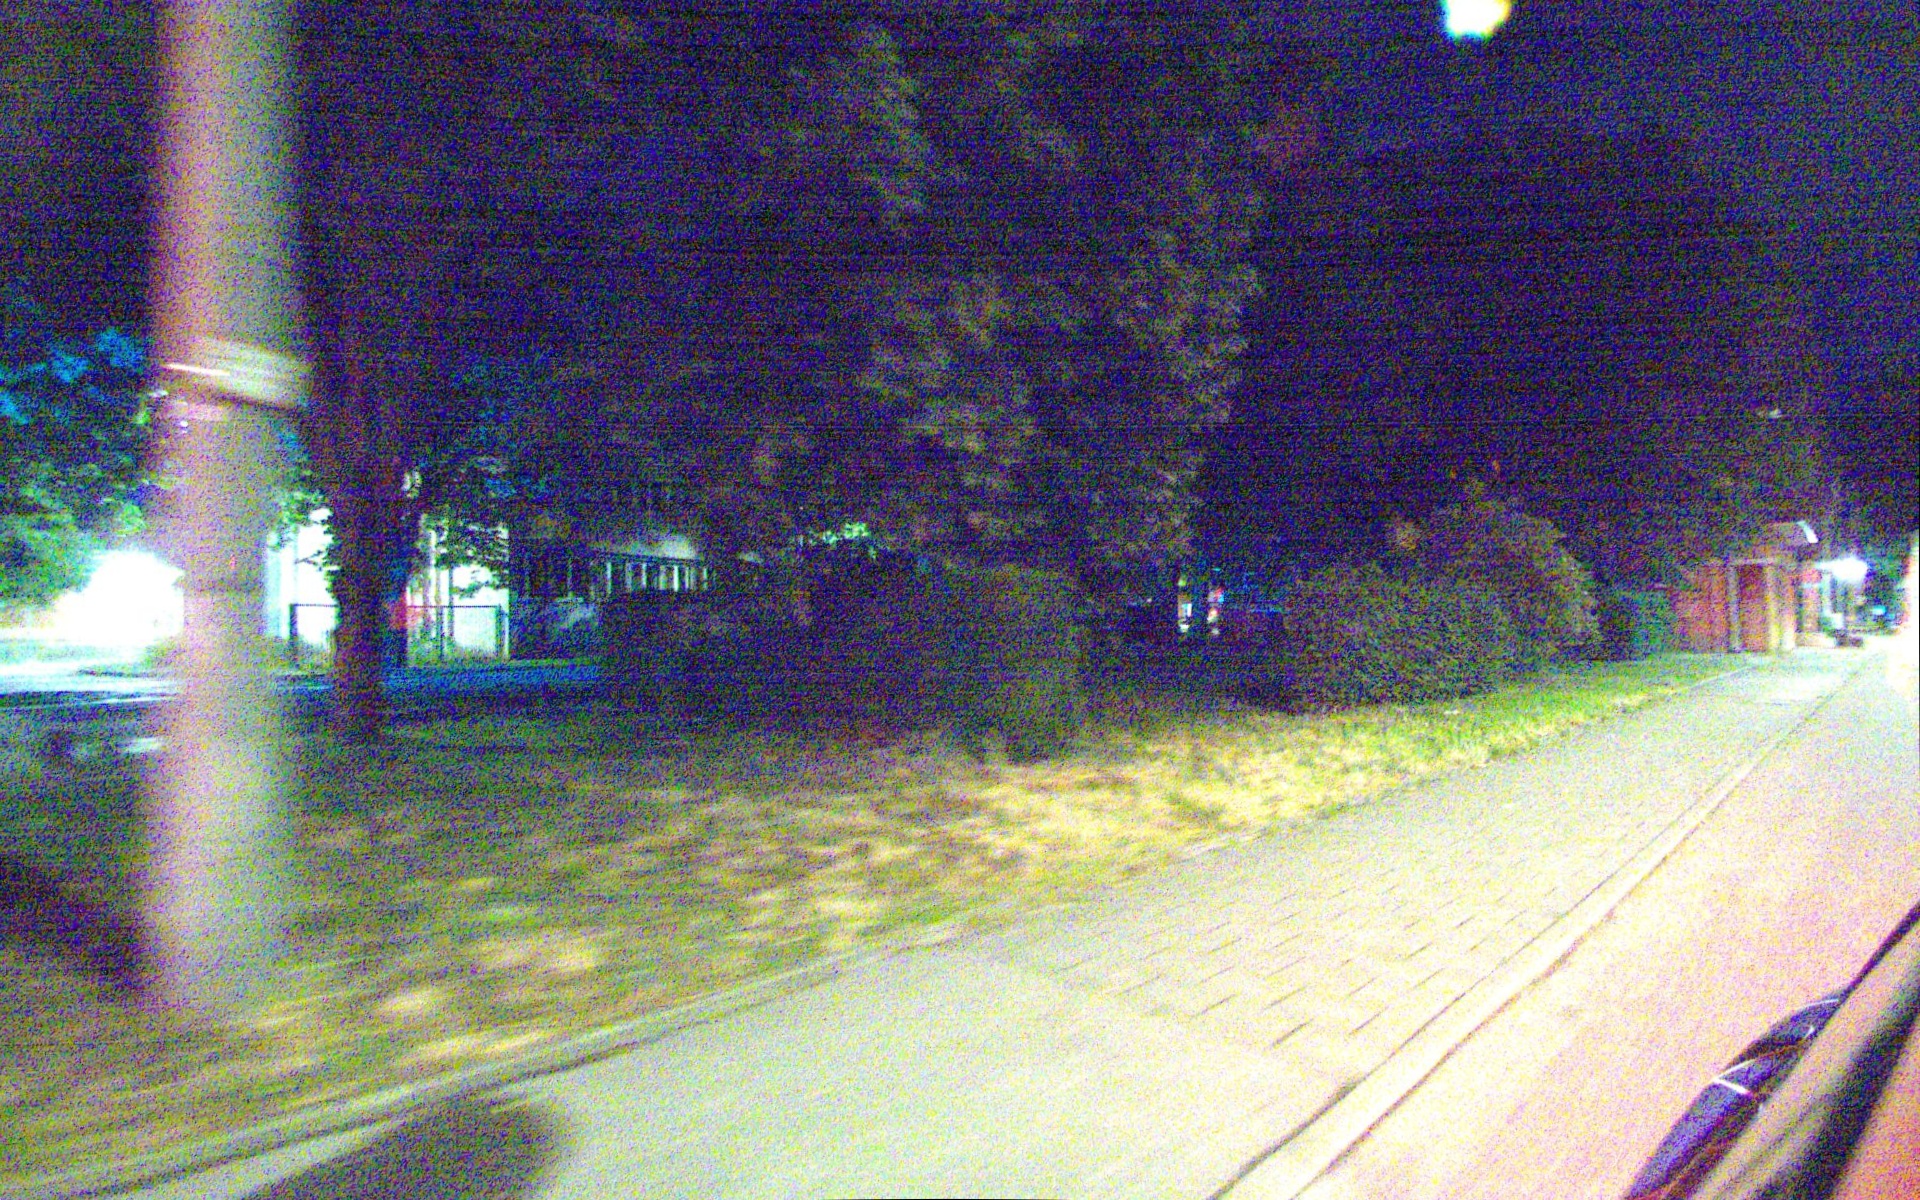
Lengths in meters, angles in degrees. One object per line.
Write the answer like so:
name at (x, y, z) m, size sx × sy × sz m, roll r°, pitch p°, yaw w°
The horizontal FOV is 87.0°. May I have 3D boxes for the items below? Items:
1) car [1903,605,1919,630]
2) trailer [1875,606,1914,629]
car at (58.134, 1.019, 61.073) m, size 3.734 × 1.480 × 1.587 m, roll 0°, pitch -2°, yaw -44°
trailer at (63.117, 1.177, 68.367) m, size 3.670 × 1.514 × 1.602 m, roll 0°, pitch -2°, yaw -43°
